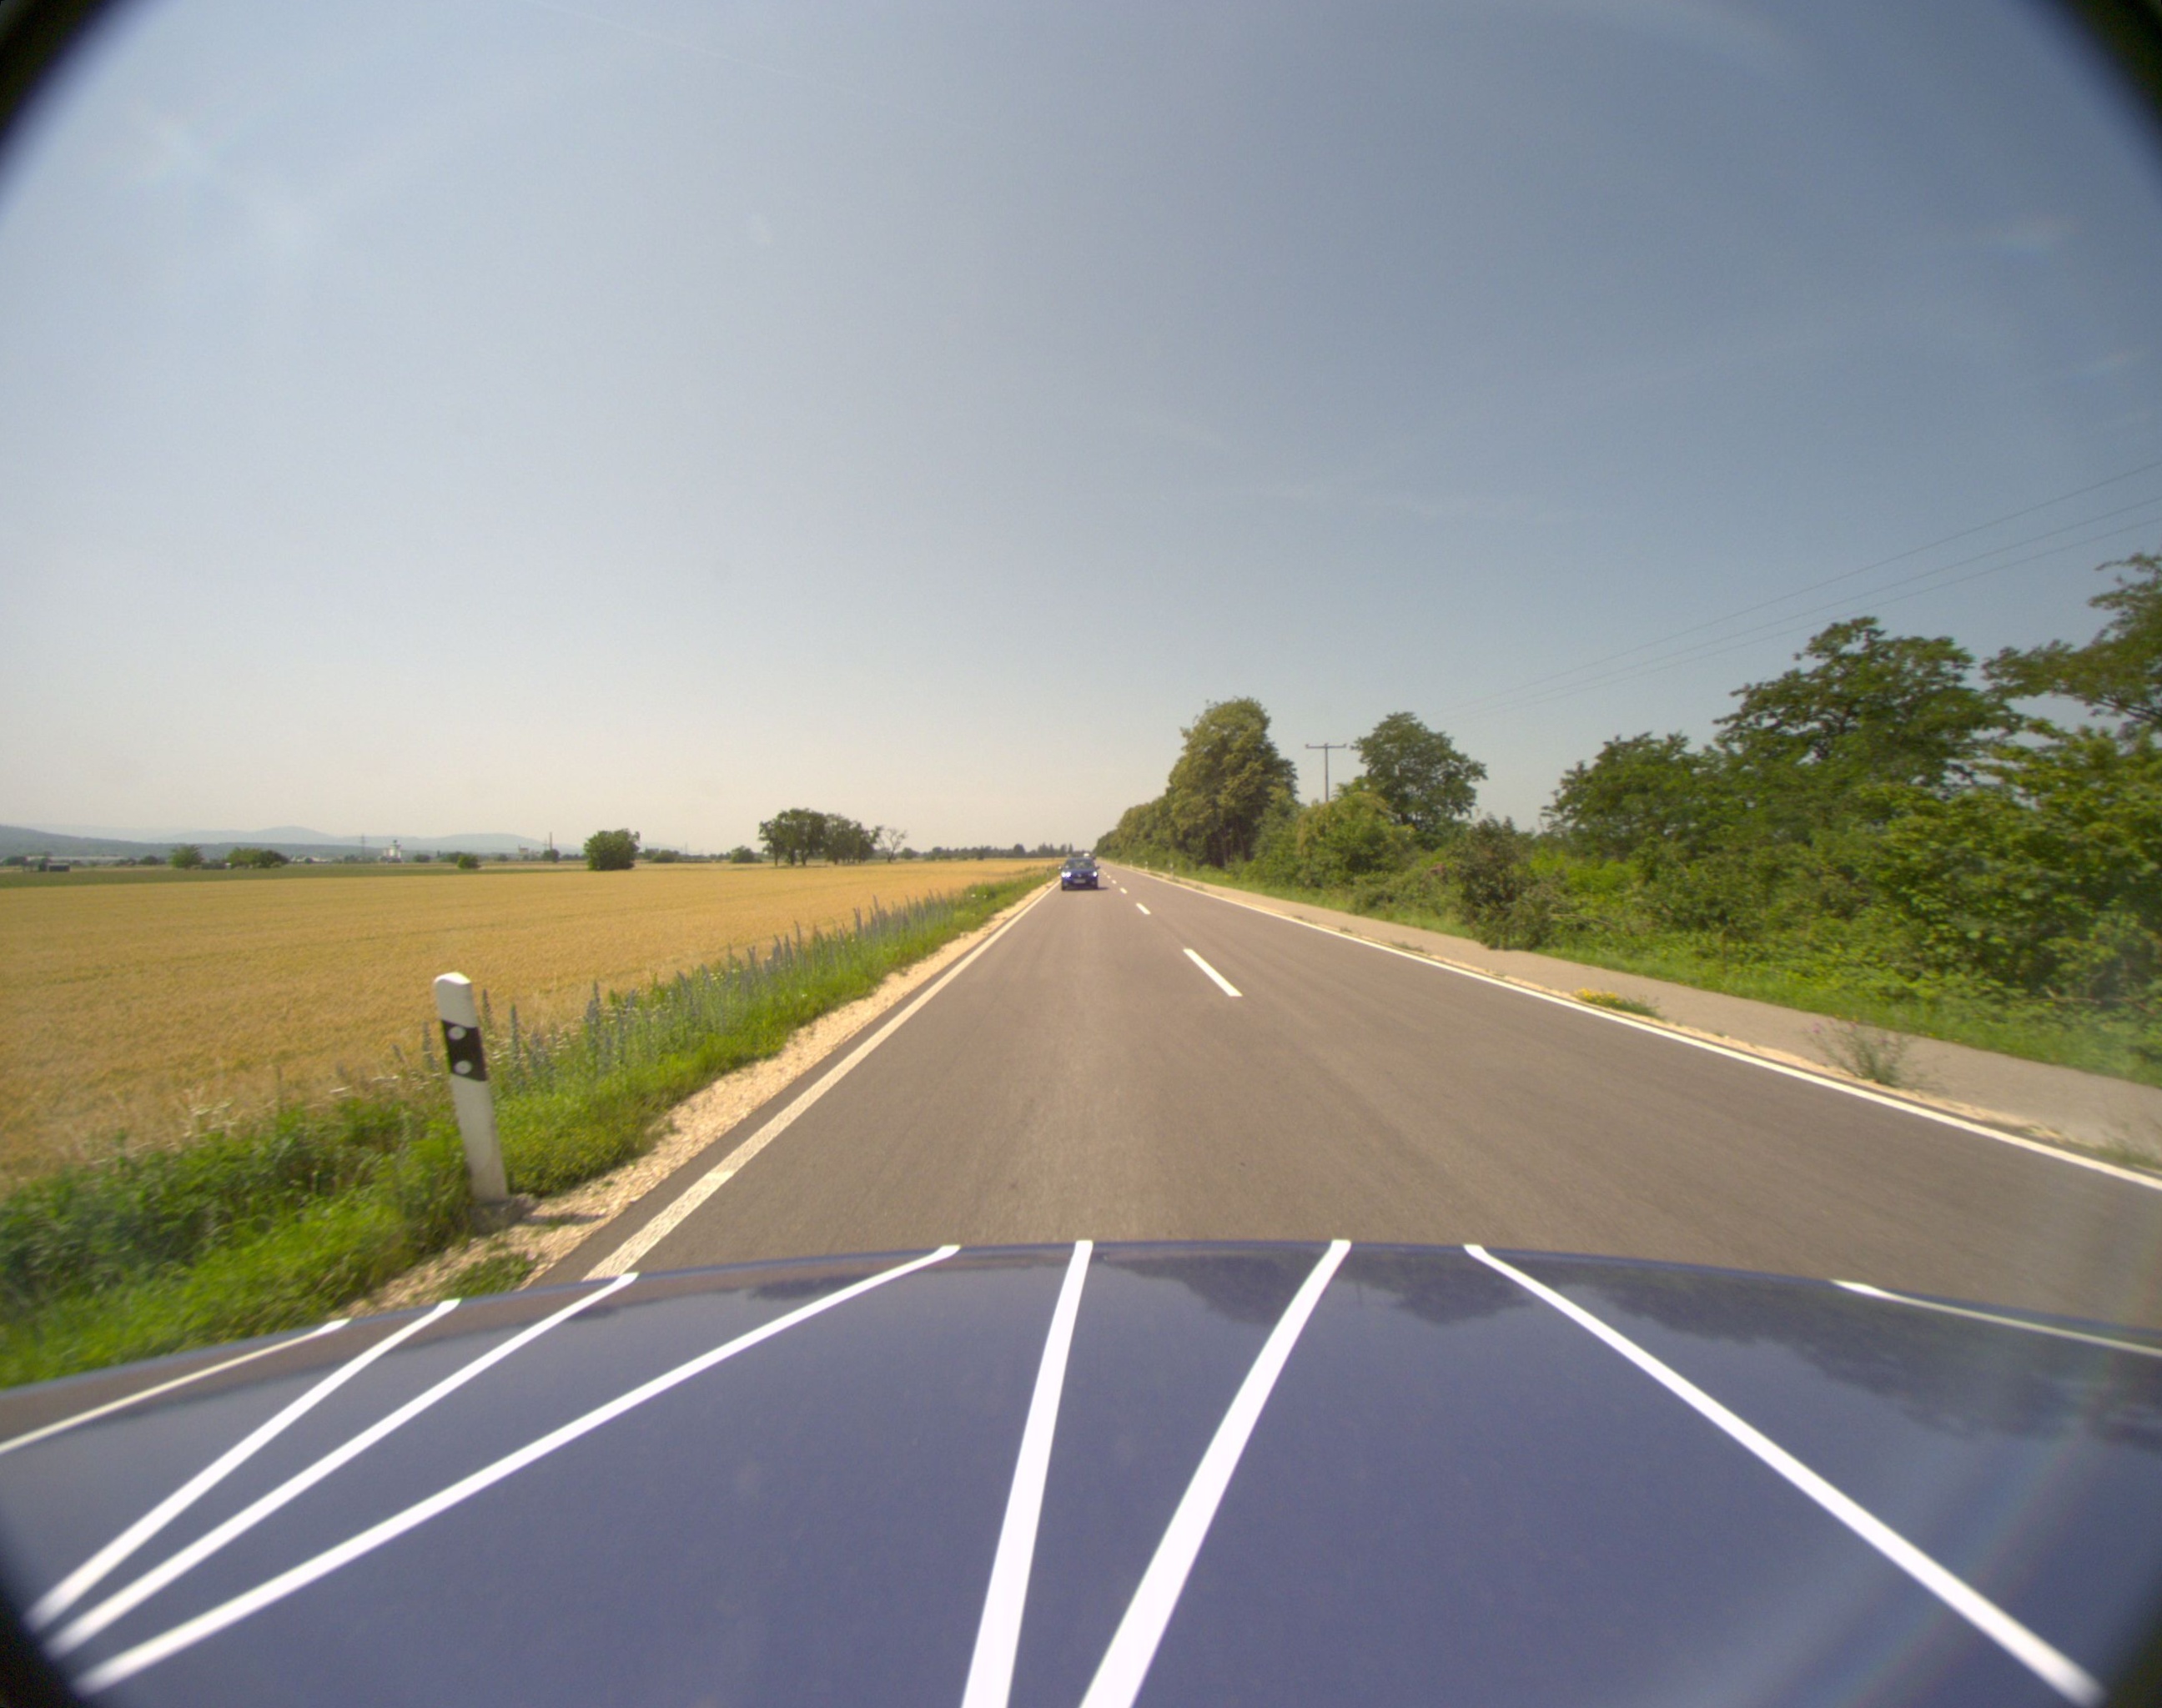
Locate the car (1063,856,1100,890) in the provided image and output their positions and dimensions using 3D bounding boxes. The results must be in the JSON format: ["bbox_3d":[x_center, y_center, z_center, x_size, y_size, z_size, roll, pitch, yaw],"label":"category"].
[{"bbox_3d":[0.033,0.871,36.796,1.662,1.508,4.000,-2,0,0],"label":"car"}]
